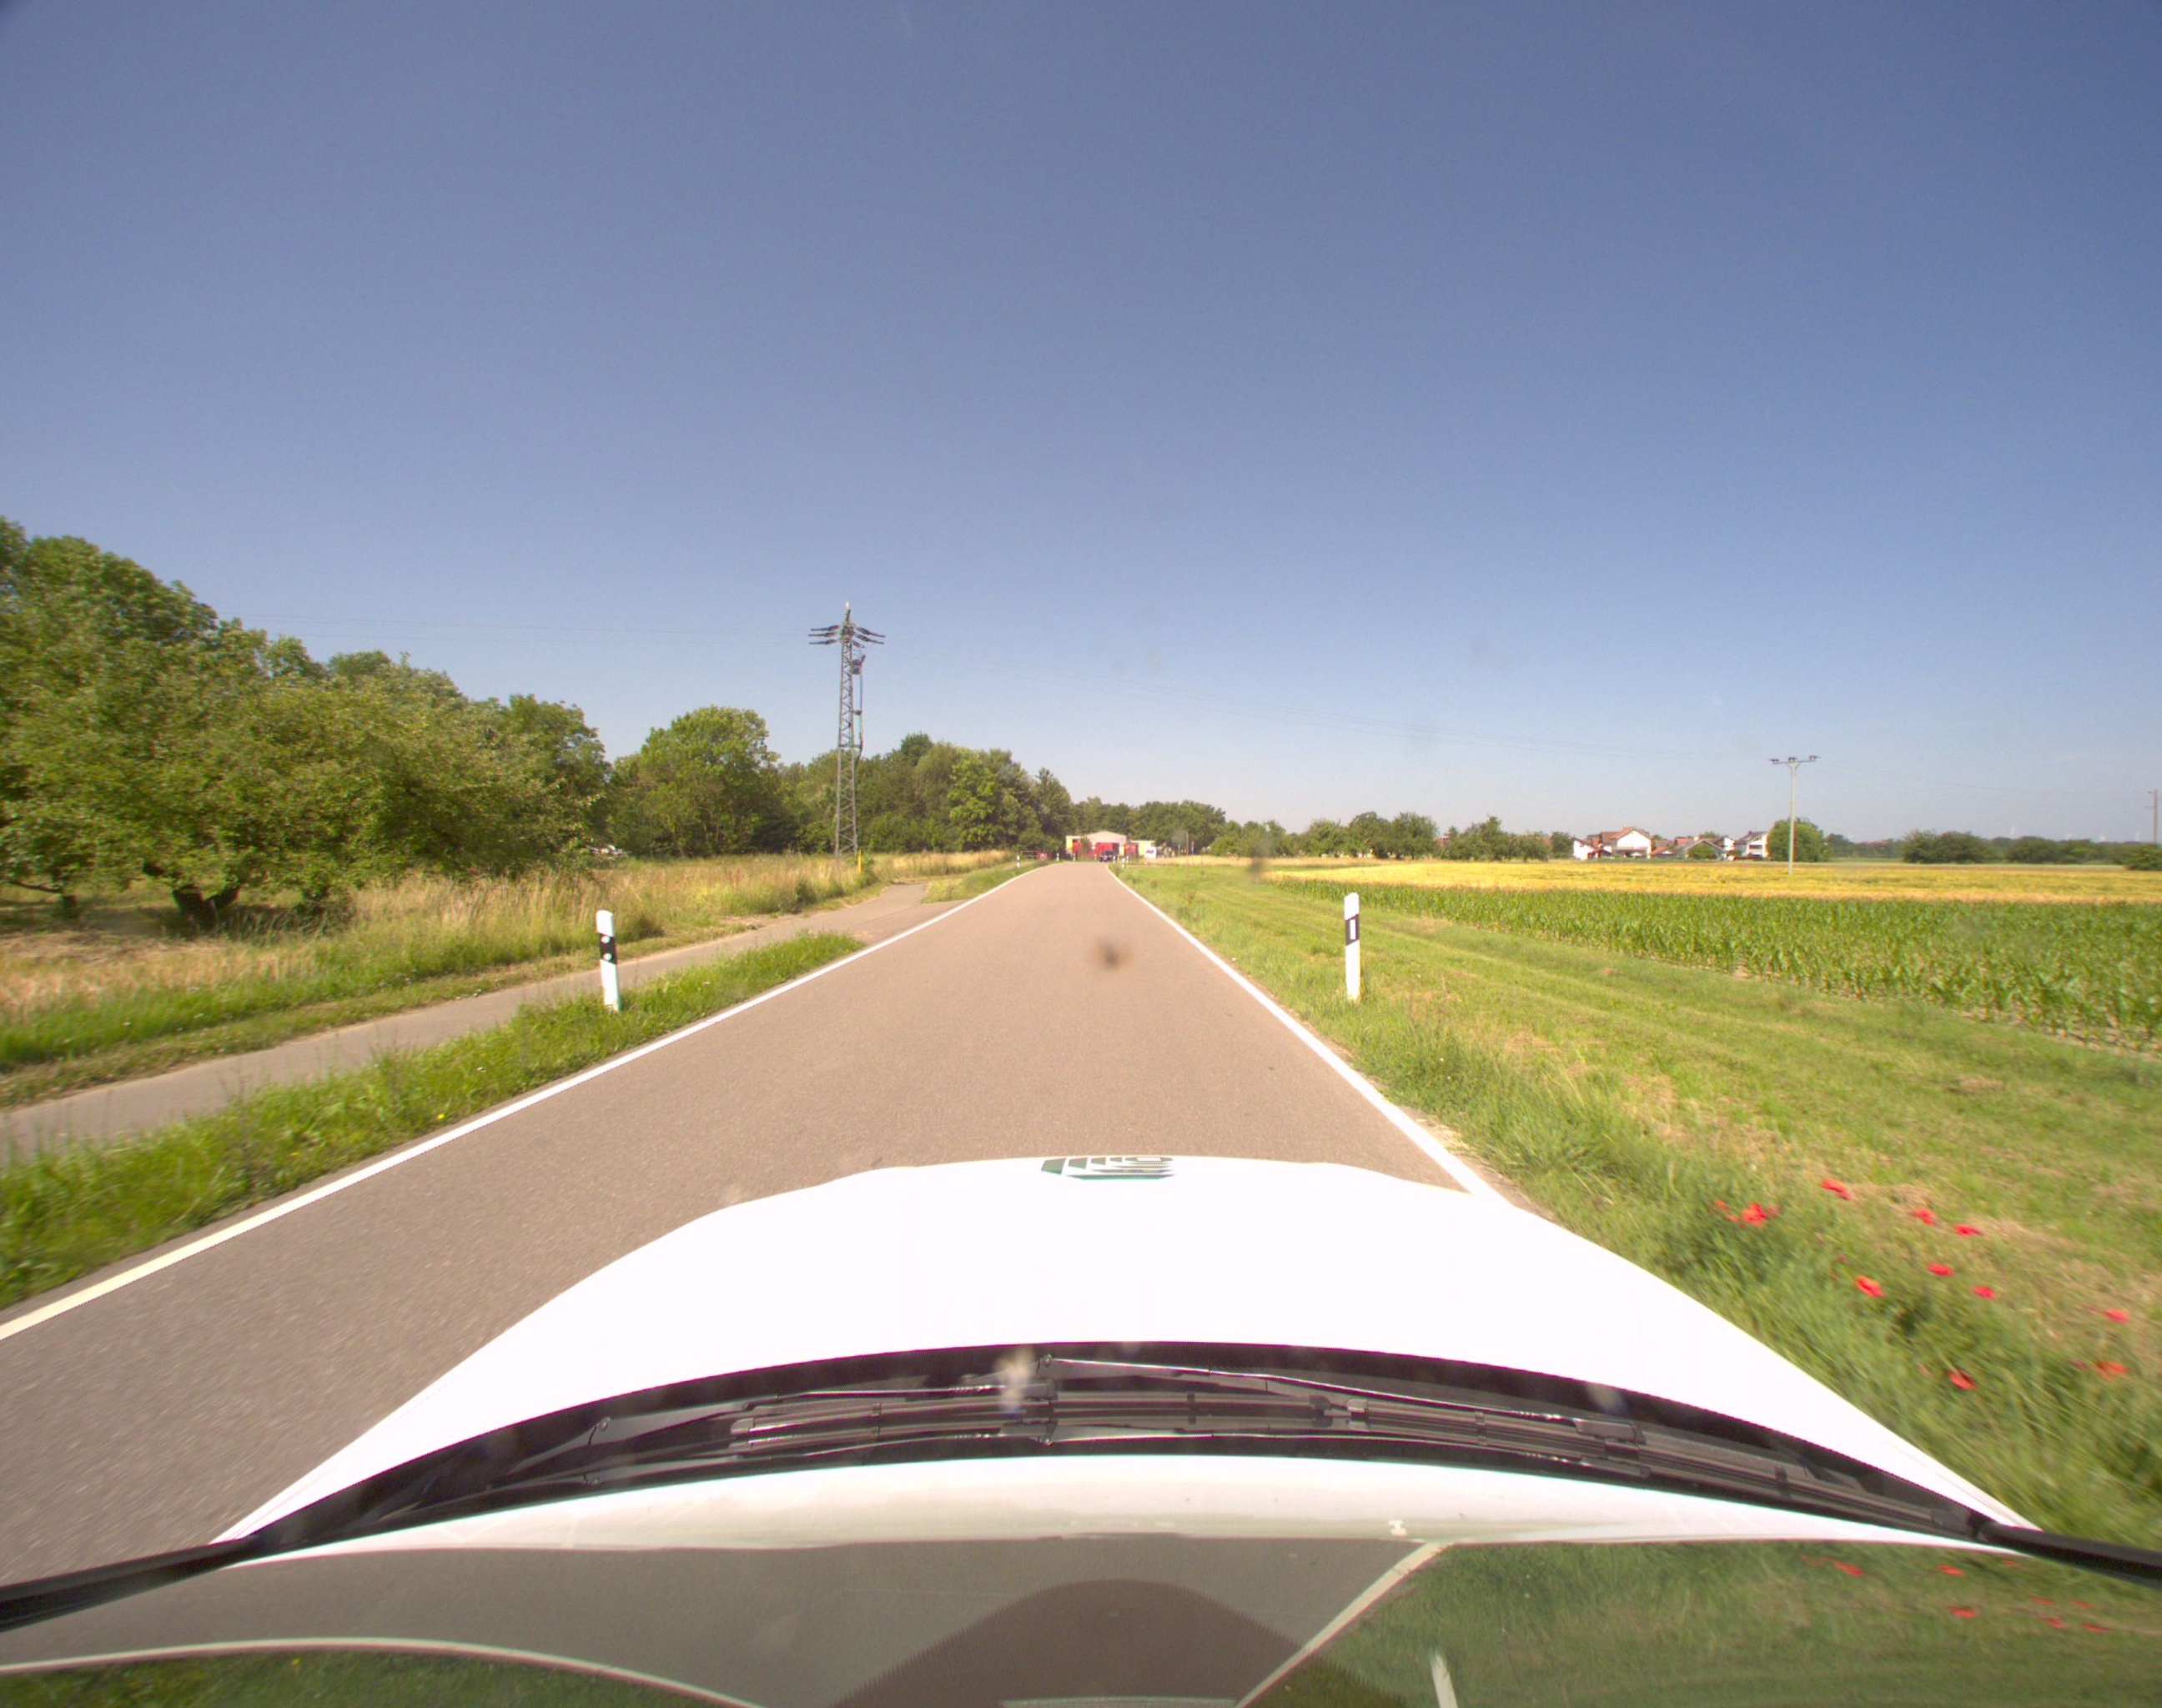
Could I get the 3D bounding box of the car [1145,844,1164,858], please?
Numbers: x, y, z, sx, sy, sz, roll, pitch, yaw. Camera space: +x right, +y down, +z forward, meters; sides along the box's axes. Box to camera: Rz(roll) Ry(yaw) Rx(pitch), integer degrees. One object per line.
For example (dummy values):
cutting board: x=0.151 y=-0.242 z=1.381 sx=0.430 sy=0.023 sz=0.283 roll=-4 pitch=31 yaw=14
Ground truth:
car: x=12.078 y=-0.477 z=133.068 sx=1.977 sy=2.266 sz=4.749 roll=0 pitch=0 yaw=19

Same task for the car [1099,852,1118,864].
car: x=4.022 y=0.516 z=118.967 sx=1.851 sy=1.753 sz=4.315 roll=0 pitch=0 yaw=16
